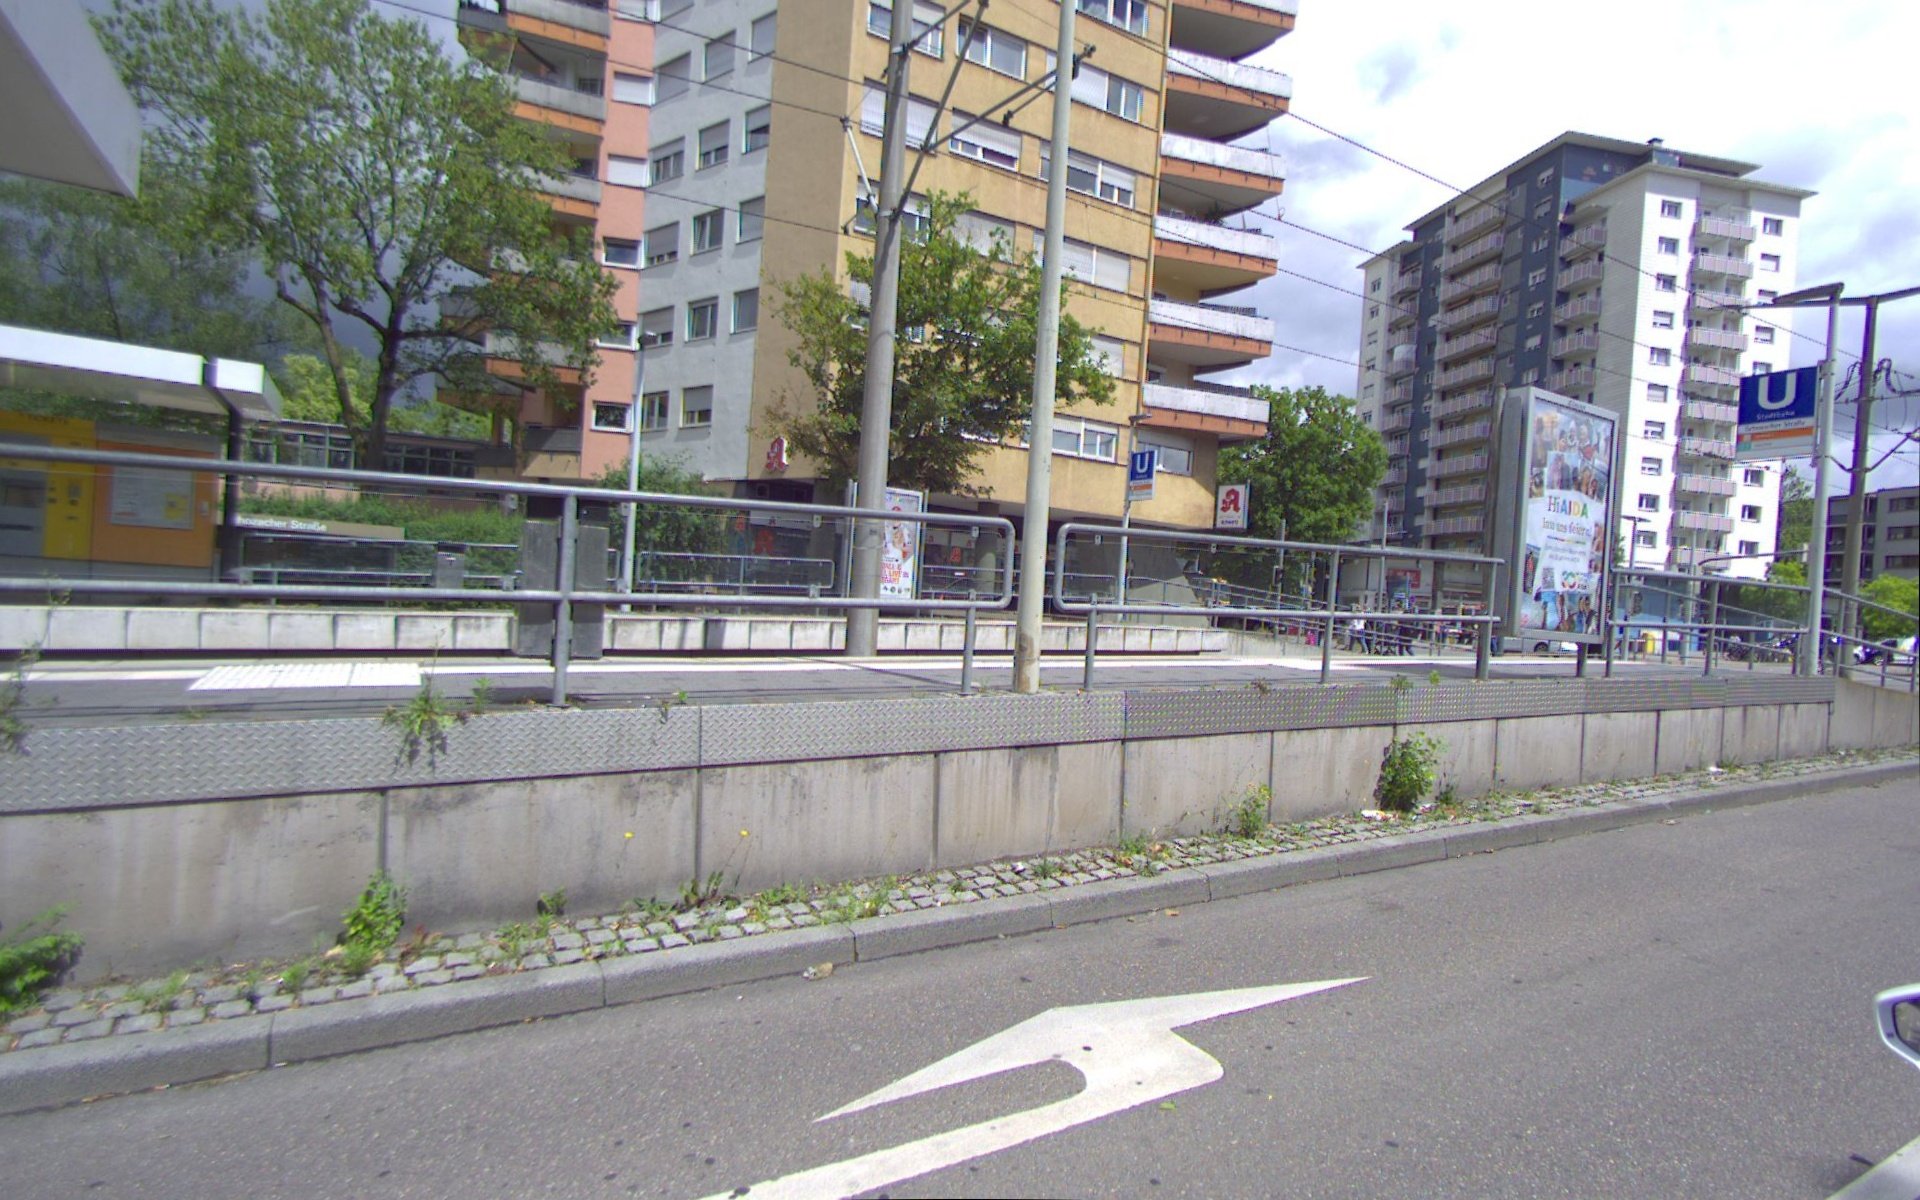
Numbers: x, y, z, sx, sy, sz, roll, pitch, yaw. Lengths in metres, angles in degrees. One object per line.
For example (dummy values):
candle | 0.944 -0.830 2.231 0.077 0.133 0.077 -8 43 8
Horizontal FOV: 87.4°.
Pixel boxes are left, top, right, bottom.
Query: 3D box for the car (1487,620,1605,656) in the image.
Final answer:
car | 28.187 1.814 48.395 1.929 1.546 4.533 2 -1 -40

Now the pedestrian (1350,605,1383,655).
pedestrian | 13.288 0.964 32.860 0.612 1.599 0.860 2 0 -6

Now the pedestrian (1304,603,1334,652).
pedestrian | 11.977 0.901 33.504 0.759 1.604 0.610 2 0 6

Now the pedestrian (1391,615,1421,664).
pedestrian | 12.824 1.122 28.845 0.677 1.360 0.859 2 0 30

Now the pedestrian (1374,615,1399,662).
pedestrian | 12.733 1.153 30.008 0.543 1.360 0.669 2 0 12

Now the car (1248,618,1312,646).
car | 20.552 2.043 64.569 1.726 1.702 3.661 2 -1 -33

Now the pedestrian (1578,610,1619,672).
pedestrian | 17.325 1.108 27.256 0.690 1.654 0.637 1 -1 -6

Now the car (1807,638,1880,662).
car | 60.996 3.406 69.397 1.602 1.482 3.576 2 0 -37

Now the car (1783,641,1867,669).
car | 52.140 3.295 60.570 1.602 1.482 3.576 2 -1 -37

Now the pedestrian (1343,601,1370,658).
pedestrian | 12.439 0.923 31.552 0.668 1.729 0.827 2 0 17

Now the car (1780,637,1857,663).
car | 55.542 3.241 65.034 1.602 1.482 3.576 2 0 -37

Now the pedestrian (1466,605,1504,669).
pedestrian | 14.587 1.025 27.905 0.844 1.719 0.689 2 0 24
